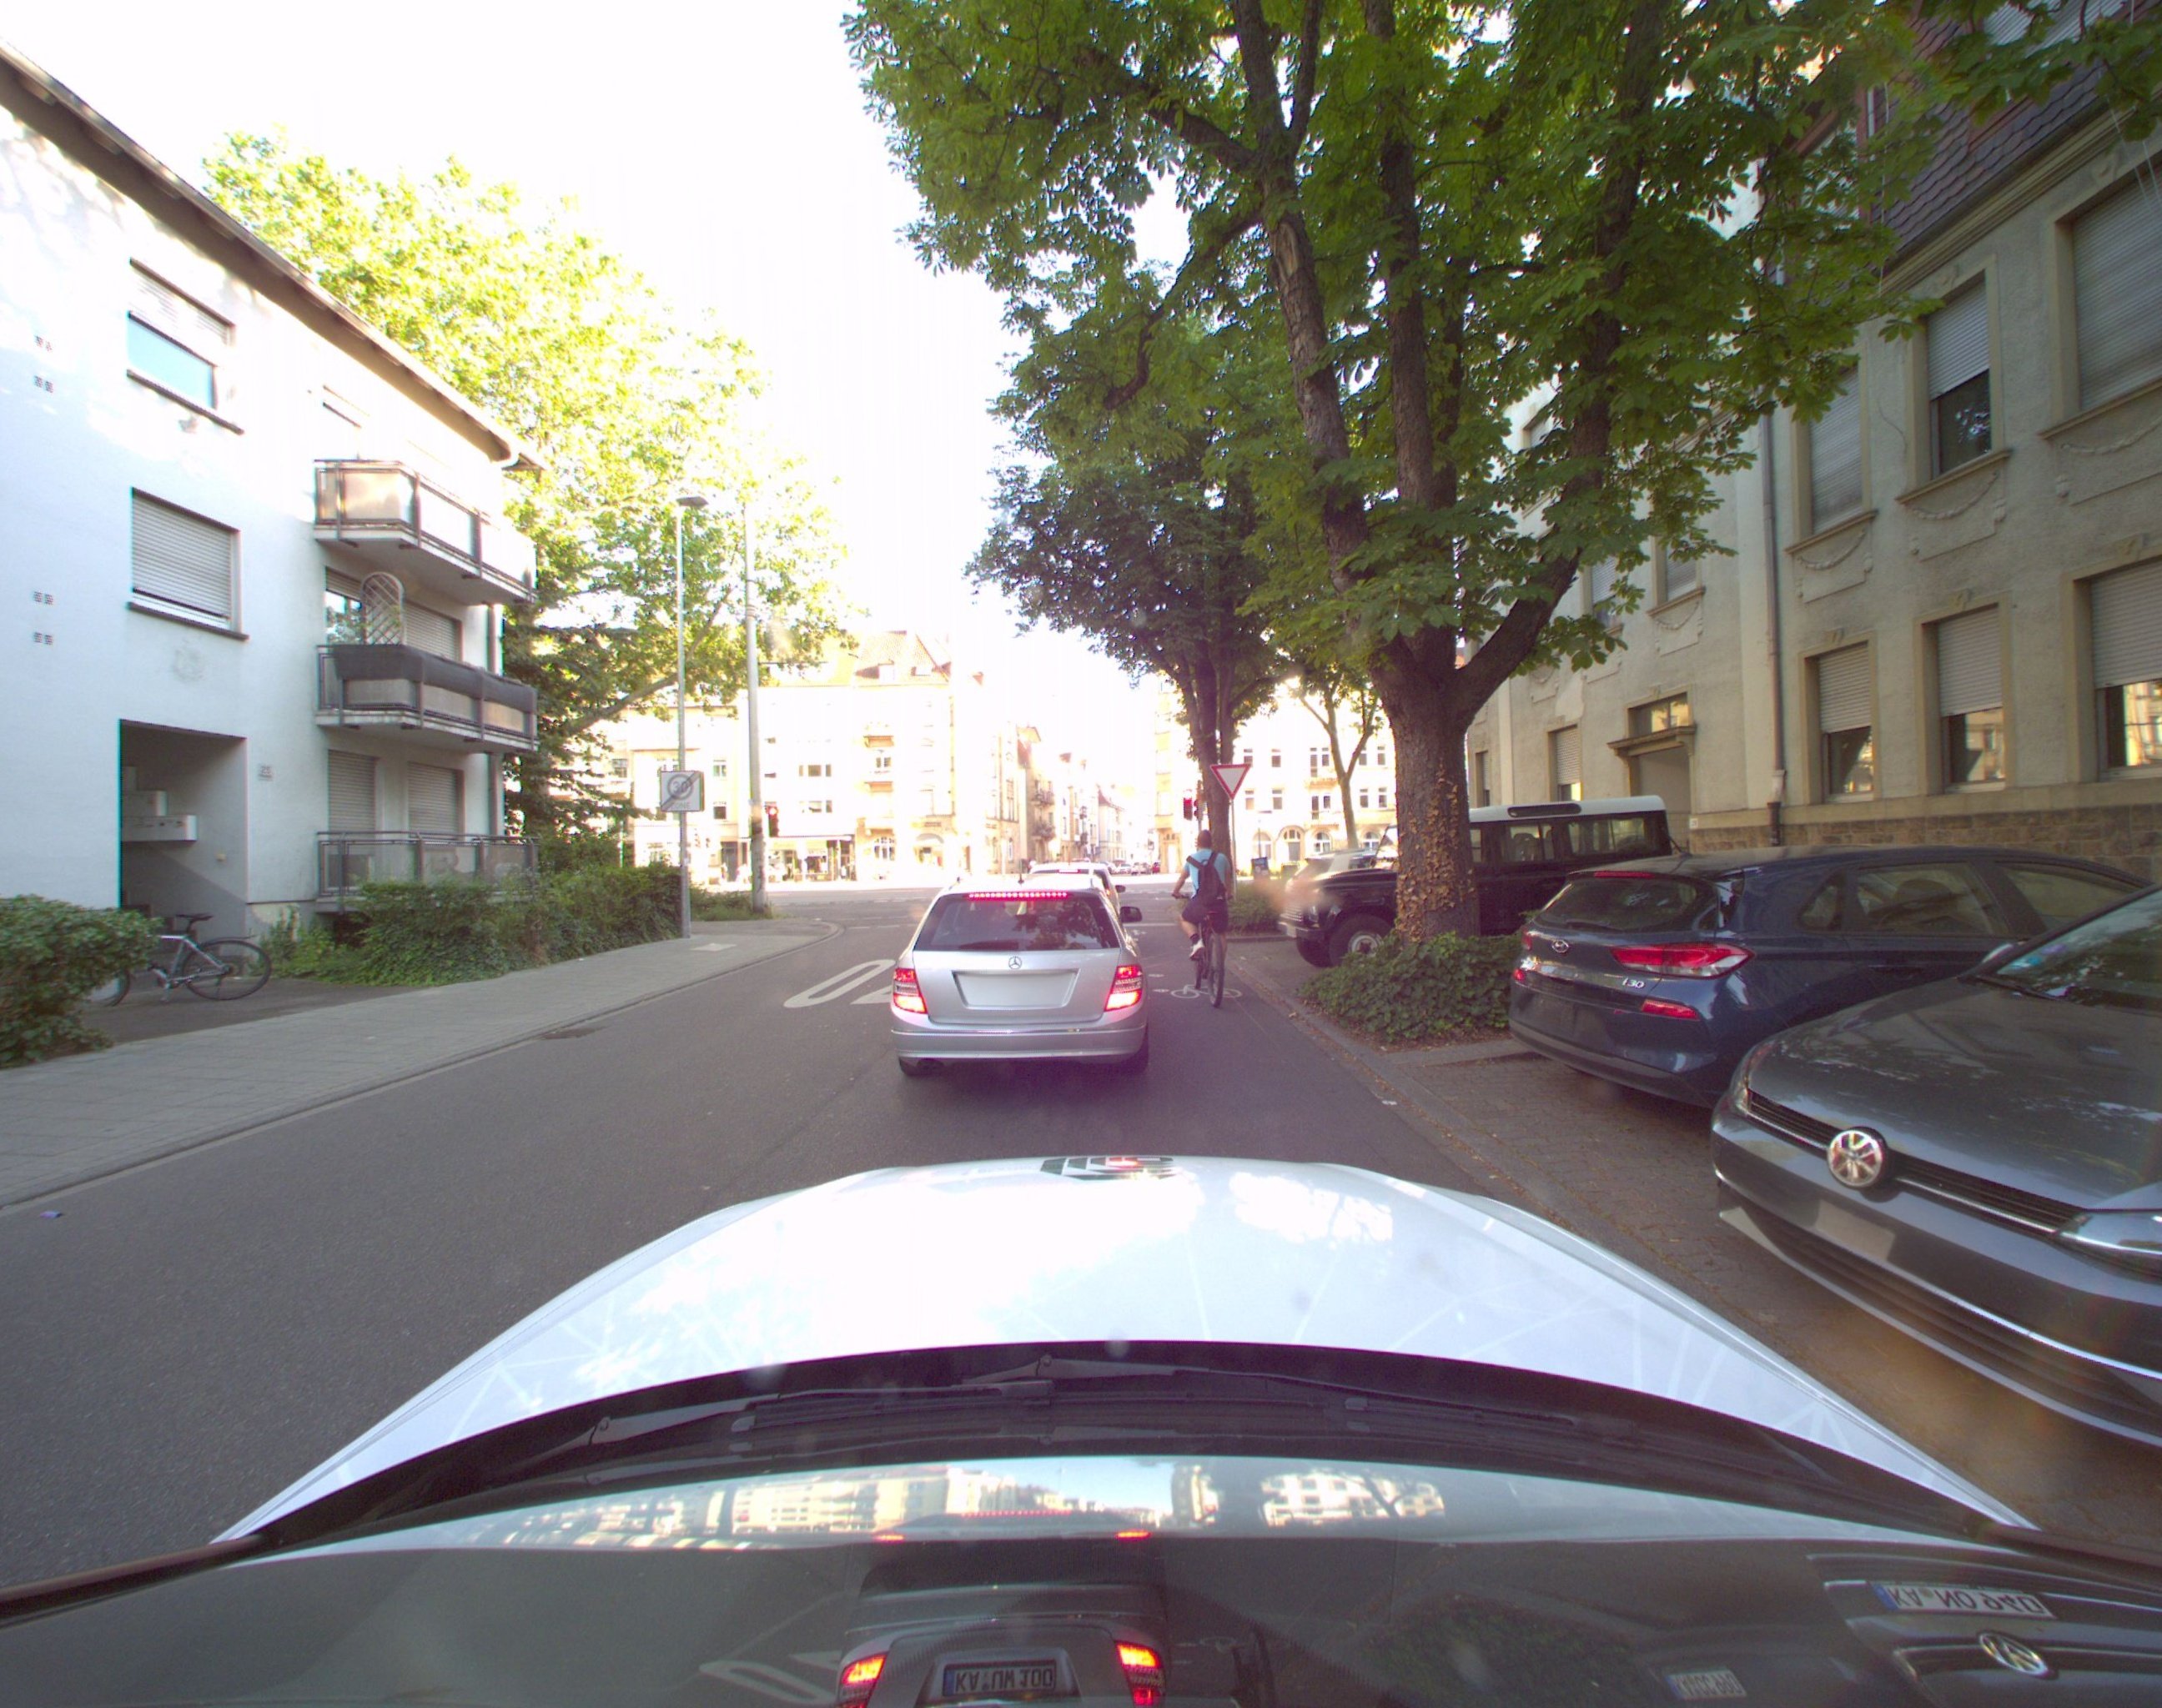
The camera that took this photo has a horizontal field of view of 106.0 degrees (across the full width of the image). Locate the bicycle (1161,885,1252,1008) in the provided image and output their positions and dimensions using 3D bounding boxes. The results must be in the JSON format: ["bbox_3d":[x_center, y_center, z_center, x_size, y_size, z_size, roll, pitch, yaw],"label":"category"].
[{"bbox_3d":[1.323,0.937,8.958,0.739,1.118,2.014,0,0,2],"label":"bicycle"}]

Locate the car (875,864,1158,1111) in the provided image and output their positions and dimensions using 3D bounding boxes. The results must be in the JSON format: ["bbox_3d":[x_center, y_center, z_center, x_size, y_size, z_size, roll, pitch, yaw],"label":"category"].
[{"bbox_3d":[-0.400,0.815,6.613,1.685,1.429,3.491,0,0,-1],"label":"car"}]

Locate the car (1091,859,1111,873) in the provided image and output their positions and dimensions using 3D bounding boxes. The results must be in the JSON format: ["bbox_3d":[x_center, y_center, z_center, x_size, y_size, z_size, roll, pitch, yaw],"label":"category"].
[{"bbox_3d":[2.533,1.519,102.554,1.639,1.783,3.876,-1,-1,13],"label":"car"}]

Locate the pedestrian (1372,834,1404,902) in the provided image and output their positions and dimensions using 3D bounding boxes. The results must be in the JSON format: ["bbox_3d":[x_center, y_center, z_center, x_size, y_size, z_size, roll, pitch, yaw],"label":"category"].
[{"bbox_3d":[8.471,0.380,22.495,0.630,1.845,0.574,-1,0,-2],"label":"pedestrian"}]

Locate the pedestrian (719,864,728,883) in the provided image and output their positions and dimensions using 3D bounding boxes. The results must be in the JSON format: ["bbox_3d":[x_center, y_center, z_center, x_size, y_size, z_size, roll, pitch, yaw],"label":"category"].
[{"bbox_3d":[-28.119,1.515,64.070,0.566,1.511,0.499,-1,0,-17],"label":"pedestrian"}]

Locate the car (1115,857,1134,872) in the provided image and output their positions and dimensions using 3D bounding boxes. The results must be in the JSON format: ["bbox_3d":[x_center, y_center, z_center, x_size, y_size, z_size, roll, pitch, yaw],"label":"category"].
[{"bbox_3d":[5.537,1.308,103.919,1.675,1.722,4.014,-2,0,13],"label":"car"}]

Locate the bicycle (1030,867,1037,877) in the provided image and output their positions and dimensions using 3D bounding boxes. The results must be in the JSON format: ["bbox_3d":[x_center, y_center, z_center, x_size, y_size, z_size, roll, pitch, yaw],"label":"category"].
[{"bbox_3d":[-4.265,1.596,73.481,0.567,0.834,1.565,-2,0,-1],"label":"bicycle"}]

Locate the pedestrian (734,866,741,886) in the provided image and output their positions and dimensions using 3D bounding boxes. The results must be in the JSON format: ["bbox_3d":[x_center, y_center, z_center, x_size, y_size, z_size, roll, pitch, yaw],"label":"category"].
[{"bbox_3d":[-27.293,1.744,64.653,0.430,1.511,0.471,-1,0,-18],"label":"pedestrian"}]

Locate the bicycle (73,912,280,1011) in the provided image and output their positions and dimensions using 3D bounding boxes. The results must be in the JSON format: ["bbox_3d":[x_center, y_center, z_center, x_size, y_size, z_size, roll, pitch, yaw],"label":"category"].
[{"bbox_3d":[-10.009,1.163,9.085,1.469,0.975,0.402,1,-2,-38],"label":"bicycle"}]

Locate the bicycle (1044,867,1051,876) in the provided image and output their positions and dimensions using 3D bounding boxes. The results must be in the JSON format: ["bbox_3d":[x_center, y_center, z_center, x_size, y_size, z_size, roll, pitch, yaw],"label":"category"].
[{"bbox_3d":[-2.982,1.568,73.456,0.567,0.834,1.565,-2,0,-1],"label":"bicycle"}]

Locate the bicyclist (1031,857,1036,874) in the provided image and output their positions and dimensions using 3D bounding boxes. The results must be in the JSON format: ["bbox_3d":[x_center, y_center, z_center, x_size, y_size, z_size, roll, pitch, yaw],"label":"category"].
[{"bbox_3d":[-4.290,1.043,73.561,0.465,1.514,0.655,-1,0,-2],"label":"bicyclist"}]

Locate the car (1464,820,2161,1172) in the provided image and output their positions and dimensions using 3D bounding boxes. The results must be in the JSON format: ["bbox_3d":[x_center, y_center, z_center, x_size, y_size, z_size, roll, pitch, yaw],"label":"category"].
[{"bbox_3d":[4.402,0.618,4.516,3.739,1.422,1.627,-3,-1,-2],"label":"car"}]

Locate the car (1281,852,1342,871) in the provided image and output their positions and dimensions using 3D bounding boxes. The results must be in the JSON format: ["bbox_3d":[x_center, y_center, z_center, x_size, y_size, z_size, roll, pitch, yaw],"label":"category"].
[{"bbox_3d":[14.160,0.462,50.013,3.352,1.069,1.380,-2,0,0],"label":"car"}]

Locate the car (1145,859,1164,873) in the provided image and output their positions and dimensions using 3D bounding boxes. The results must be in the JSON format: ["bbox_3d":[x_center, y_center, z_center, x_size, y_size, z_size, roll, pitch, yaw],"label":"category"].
[{"bbox_3d":[9.227,1.441,102.034,1.709,1.478,4.016,-6,-1,14],"label":"car"}]

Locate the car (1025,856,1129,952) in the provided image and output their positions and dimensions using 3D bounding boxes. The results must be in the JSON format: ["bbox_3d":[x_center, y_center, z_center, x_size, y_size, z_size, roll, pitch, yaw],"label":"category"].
[{"bbox_3d":[-0.050,0.748,13.935,1.528,1.391,3.599,-1,0,0],"label":"car"}]

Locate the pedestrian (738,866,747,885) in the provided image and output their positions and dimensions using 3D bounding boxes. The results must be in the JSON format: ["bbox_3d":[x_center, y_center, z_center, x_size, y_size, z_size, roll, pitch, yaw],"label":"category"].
[{"bbox_3d":[-27.161,1.707,65.405,0.507,1.511,0.536,-1,0,-3],"label":"pedestrian"}]

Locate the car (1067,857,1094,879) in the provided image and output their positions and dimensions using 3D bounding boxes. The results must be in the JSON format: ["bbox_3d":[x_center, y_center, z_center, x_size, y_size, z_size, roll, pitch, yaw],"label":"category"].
[{"bbox_3d":[0.004,1.357,79.926,1.926,1.958,4.161,-2,0,10],"label":"car"}]

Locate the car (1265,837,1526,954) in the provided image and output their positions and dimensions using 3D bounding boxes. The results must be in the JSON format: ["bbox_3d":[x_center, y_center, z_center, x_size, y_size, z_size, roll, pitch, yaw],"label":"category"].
[{"bbox_3d":[4.948,0.613,13.096,3.475,1.586,1.708,-3,0,-5],"label":"car"}]

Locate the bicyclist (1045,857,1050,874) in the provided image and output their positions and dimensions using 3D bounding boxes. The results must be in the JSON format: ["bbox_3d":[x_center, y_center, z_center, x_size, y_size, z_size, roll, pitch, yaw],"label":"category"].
[{"bbox_3d":[-3.014,1.017,73.518,0.465,1.521,0.693,-1,0,-2],"label":"bicyclist"}]

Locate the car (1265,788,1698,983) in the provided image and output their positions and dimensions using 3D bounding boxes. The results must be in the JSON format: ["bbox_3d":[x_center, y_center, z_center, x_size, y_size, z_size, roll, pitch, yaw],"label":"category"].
[{"bbox_3d":[4.788,0.351,10.196,4.478,1.956,1.792,-3,0,-1],"label":"car"}]

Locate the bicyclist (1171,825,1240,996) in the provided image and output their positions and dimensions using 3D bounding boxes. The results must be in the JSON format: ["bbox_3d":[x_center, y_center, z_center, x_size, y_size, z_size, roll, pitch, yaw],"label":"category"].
[{"bbox_3d":[1.342,0.591,8.902,0.644,1.775,0.831,0,-1,1],"label":"bicyclist"}]

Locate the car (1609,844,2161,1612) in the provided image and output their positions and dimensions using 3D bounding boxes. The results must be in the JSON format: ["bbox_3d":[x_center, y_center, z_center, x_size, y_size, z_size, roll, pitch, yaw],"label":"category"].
[{"bbox_3d":[4.075,0.665,2.335,4.037,1.422,1.627,-3,-1,-2],"label":"car"}]

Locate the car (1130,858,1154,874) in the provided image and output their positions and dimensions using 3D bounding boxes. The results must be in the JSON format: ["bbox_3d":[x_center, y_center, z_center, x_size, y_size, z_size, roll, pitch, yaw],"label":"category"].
[{"bbox_3d":[6.439,1.231,85.911,1.708,1.478,4.016,-3,0,14],"label":"car"}]
